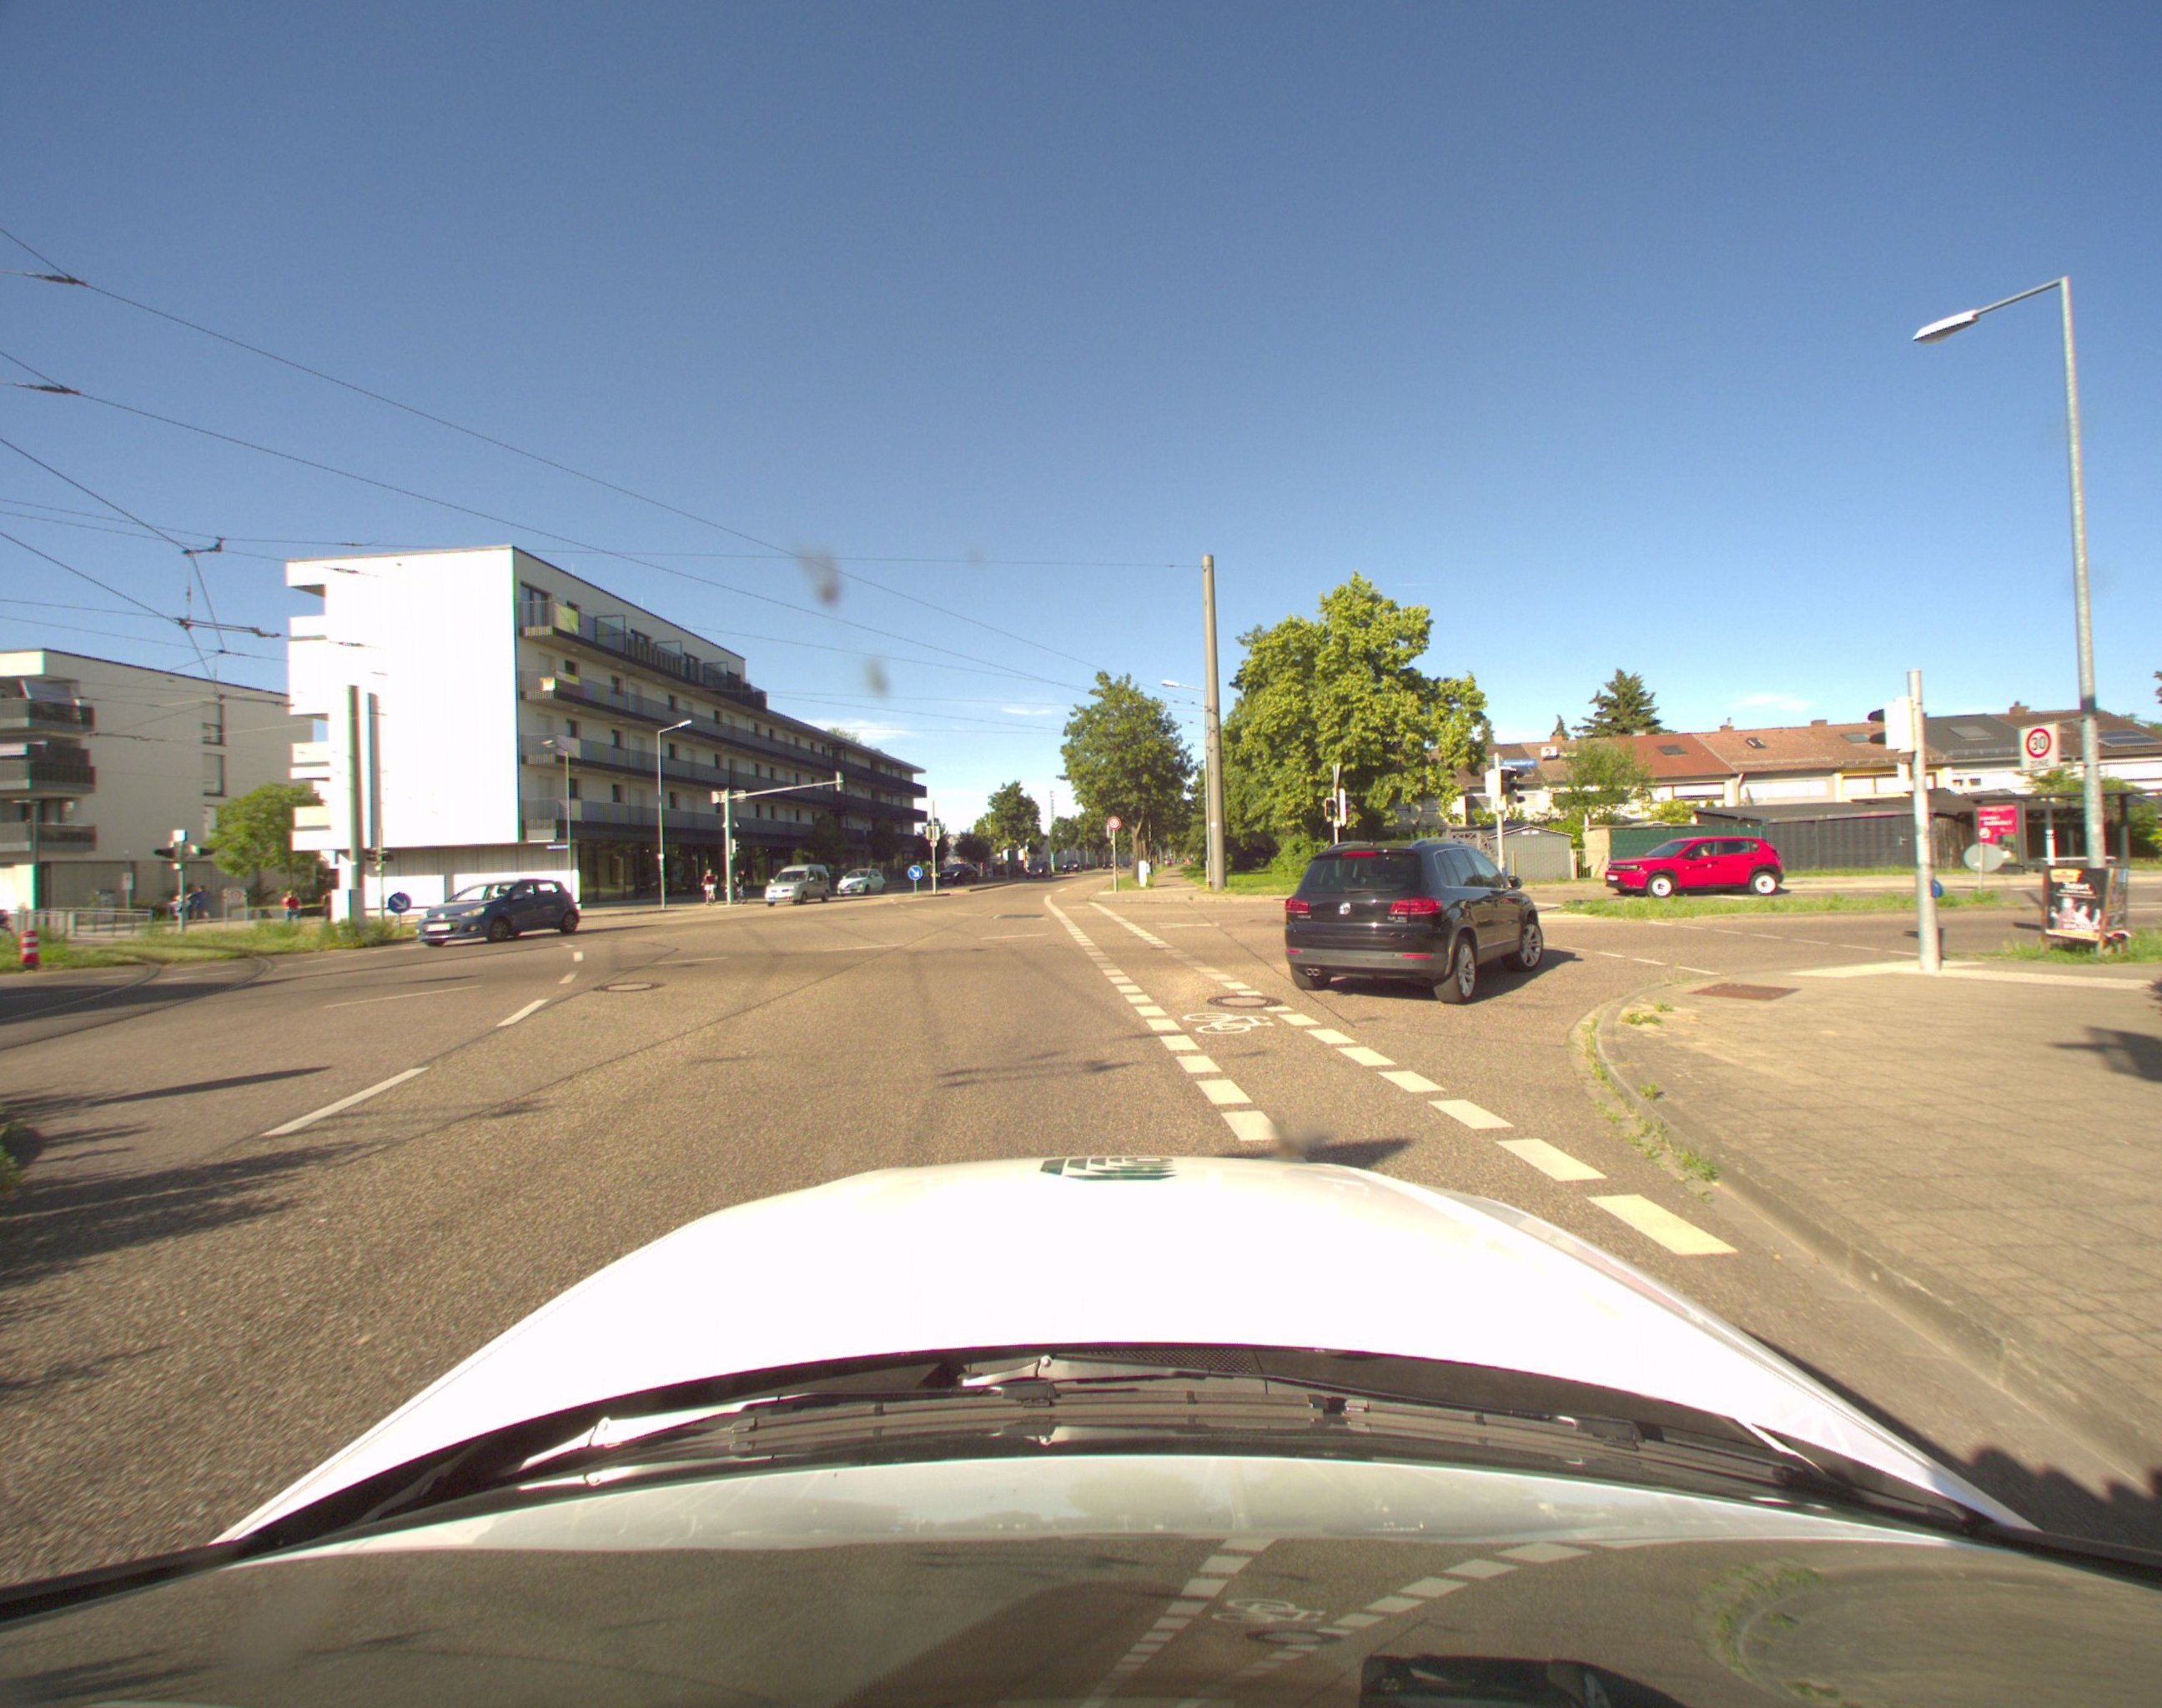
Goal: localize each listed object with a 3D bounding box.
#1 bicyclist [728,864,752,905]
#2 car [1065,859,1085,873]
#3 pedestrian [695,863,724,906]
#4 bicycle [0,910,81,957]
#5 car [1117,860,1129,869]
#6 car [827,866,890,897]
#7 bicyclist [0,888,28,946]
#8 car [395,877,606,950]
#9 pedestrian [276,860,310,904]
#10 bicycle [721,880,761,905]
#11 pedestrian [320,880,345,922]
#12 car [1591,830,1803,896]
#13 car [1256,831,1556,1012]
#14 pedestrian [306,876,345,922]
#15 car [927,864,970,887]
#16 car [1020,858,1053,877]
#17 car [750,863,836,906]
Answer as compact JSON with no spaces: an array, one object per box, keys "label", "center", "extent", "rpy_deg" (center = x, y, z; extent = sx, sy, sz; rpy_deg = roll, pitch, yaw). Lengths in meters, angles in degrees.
[{"label":"bicyclist","center":[-16.895,1.495,40.371],"extent":[0.791,2.014,0.810],"rpy_deg":[-2,-1,-5]},{"label":"car","center":[-0.801,1.547,106.236],"extent":[1.984,1.737,5.207],"rpy_deg":[-2,0,5]},{"label":"pedestrian","center":[-18.003,1.465,39.441],"extent":[0.973,2.014,0.760],"rpy_deg":[-2,-1,1]},{"label":"bicycle","center":[-30.410,2.270,22.865],"extent":[0.895,1.198,2.835],"rpy_deg":[-2,-1,12]},{"label":"car","center":[8.261,2.051,160.487],"extent":[1.884,1.758,4.010],"rpy_deg":[0,-1,9]},{"label":"car","center":[-12.378,1.518,45.494],"extent":[1.981,1.487,3.553],"rpy_deg":[-4,-1,10]},{"label":"bicyclist","center":[-30.443,1.789,22.755],"extent":[0.886,1.592,0.916],"rpy_deg":[-2,-1,12]},{"label":"car","center":[-13.975,1.363,19.999],"extent":[1.687,1.456,4.458],"rpy_deg":[-2,-1,5]},{"label":"pedestrian","center":[-30.342,1.060,31.369],"extent":[0.752,1.686,0.572],"rpy_deg":[0,-1,-19]},{"label":"bicycle","center":[-16.861,1.908,40.366],"extent":[1.635,1.144,0.743],"rpy_deg":[-2,-1,-6]},{"label":"pedestrian","center":[-29.215,1.836,31.796],"extent":[0.455,1.622,0.504],"rpy_deg":[0,-1,1]},{"label":"car","center":[16.554,0.236,22.100],"extent":[4.144,1.588,1.950],"rpy_deg":[-2,0,7]},{"label":"car","center":[4.107,0.608,9.796],"extent":[1.911,1.654,4.542],"rpy_deg":[-1,0,41]},{"label":"pedestrian","center":[-29.420,1.748,31.712],"extent":[0.638,1.733,0.957],"rpy_deg":[-1,-1,31]},{"label":"car","center":[-9.854,1.577,61.016],"extent":[1.957,1.534,4.747],"rpy_deg":[-2,-1,5]},{"label":"car","center":[-4.012,1.234,73.996],"extent":[1.980,1.571,4.013],"rpy_deg":[-2,-1,11]},{"label":"car","center":[-12.755,1.302,36.412],"extent":[1.985,1.755,4.366],"rpy_deg":[-2,-1,4]}]
